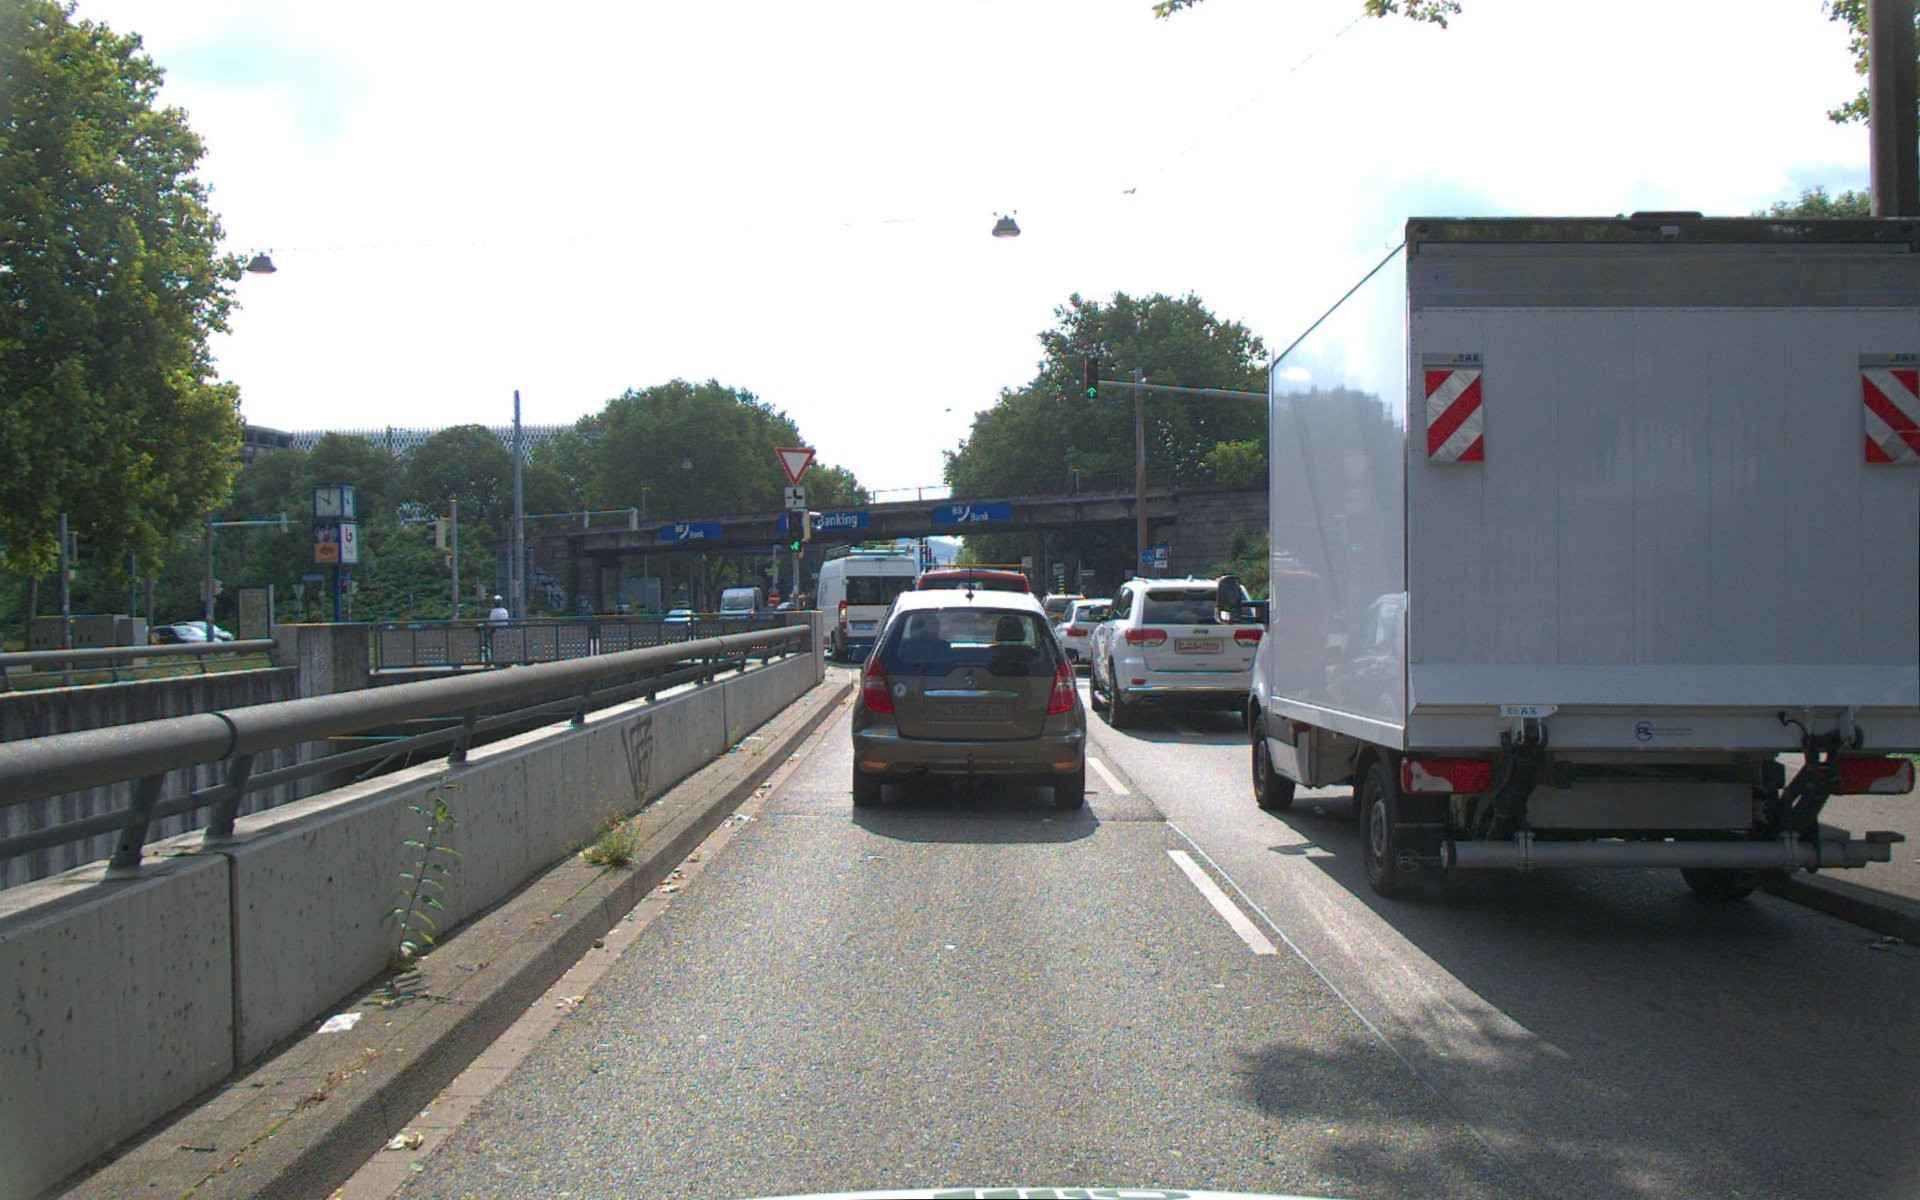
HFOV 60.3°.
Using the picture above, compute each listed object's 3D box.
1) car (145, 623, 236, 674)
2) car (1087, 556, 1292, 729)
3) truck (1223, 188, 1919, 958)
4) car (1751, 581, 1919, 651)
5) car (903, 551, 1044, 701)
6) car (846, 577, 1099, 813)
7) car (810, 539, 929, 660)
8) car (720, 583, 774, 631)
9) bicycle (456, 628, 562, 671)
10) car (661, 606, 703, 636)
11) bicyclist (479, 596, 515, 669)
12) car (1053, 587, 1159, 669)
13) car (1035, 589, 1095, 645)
[{"bbox_3d":[-35.452,2.230,76.190,3.945,1.778,1.970,8,2,34],"label":"car"},{"bbox_3d":[2.764,0.451,20.899,1.954,1.934,4.509,0,1,0],"label":"car"},{"bbox_3d":[3.178,-0.095,9.849,2.396,3.176,6.028,0,0,1],"label":"truck"},{"bbox_3d":[23.456,0.439,44.212,3.941,1.779,1.970,-1,-1,34],"label":"car"},{"bbox_3d":[0.181,0.346,24.998,1.915,2.052,4.676,0,0,0],"label":"car"},{"bbox_3d":[0.090,0.652,13.422,1.755,1.637,3.798,0,0,0],"label":"car"},{"bbox_3d":[-2.306,0.035,40.654,2.159,2.774,4.915,1,-1,-12],"label":"car"},{"bbox_3d":[-12.045,0.395,93.910,2.211,2.570,5.627,-1,0,1],"label":"car"},{"bbox_3d":[-9.022,0.983,33.117,1.930,0.841,0.612,0,0,3],"label":"bicycle"},{"bbox_3d":[-15.377,1.156,91.598,1.668,1.502,3.999,-4,0,-1],"label":"car"},{"bbox_3d":[-9.273,0.641,33.135,0.499,1.429,0.626,-1,0,4],"label":"bicyclist"},{"bbox_3d":[2.887,0.572,33.316,1.814,1.548,3.616,0,-1,0],"label":"car"},{"bbox_3d":[2.991,0.497,47.579,1.512,1.548,3.616,0,-1,0],"label":"car"}]
